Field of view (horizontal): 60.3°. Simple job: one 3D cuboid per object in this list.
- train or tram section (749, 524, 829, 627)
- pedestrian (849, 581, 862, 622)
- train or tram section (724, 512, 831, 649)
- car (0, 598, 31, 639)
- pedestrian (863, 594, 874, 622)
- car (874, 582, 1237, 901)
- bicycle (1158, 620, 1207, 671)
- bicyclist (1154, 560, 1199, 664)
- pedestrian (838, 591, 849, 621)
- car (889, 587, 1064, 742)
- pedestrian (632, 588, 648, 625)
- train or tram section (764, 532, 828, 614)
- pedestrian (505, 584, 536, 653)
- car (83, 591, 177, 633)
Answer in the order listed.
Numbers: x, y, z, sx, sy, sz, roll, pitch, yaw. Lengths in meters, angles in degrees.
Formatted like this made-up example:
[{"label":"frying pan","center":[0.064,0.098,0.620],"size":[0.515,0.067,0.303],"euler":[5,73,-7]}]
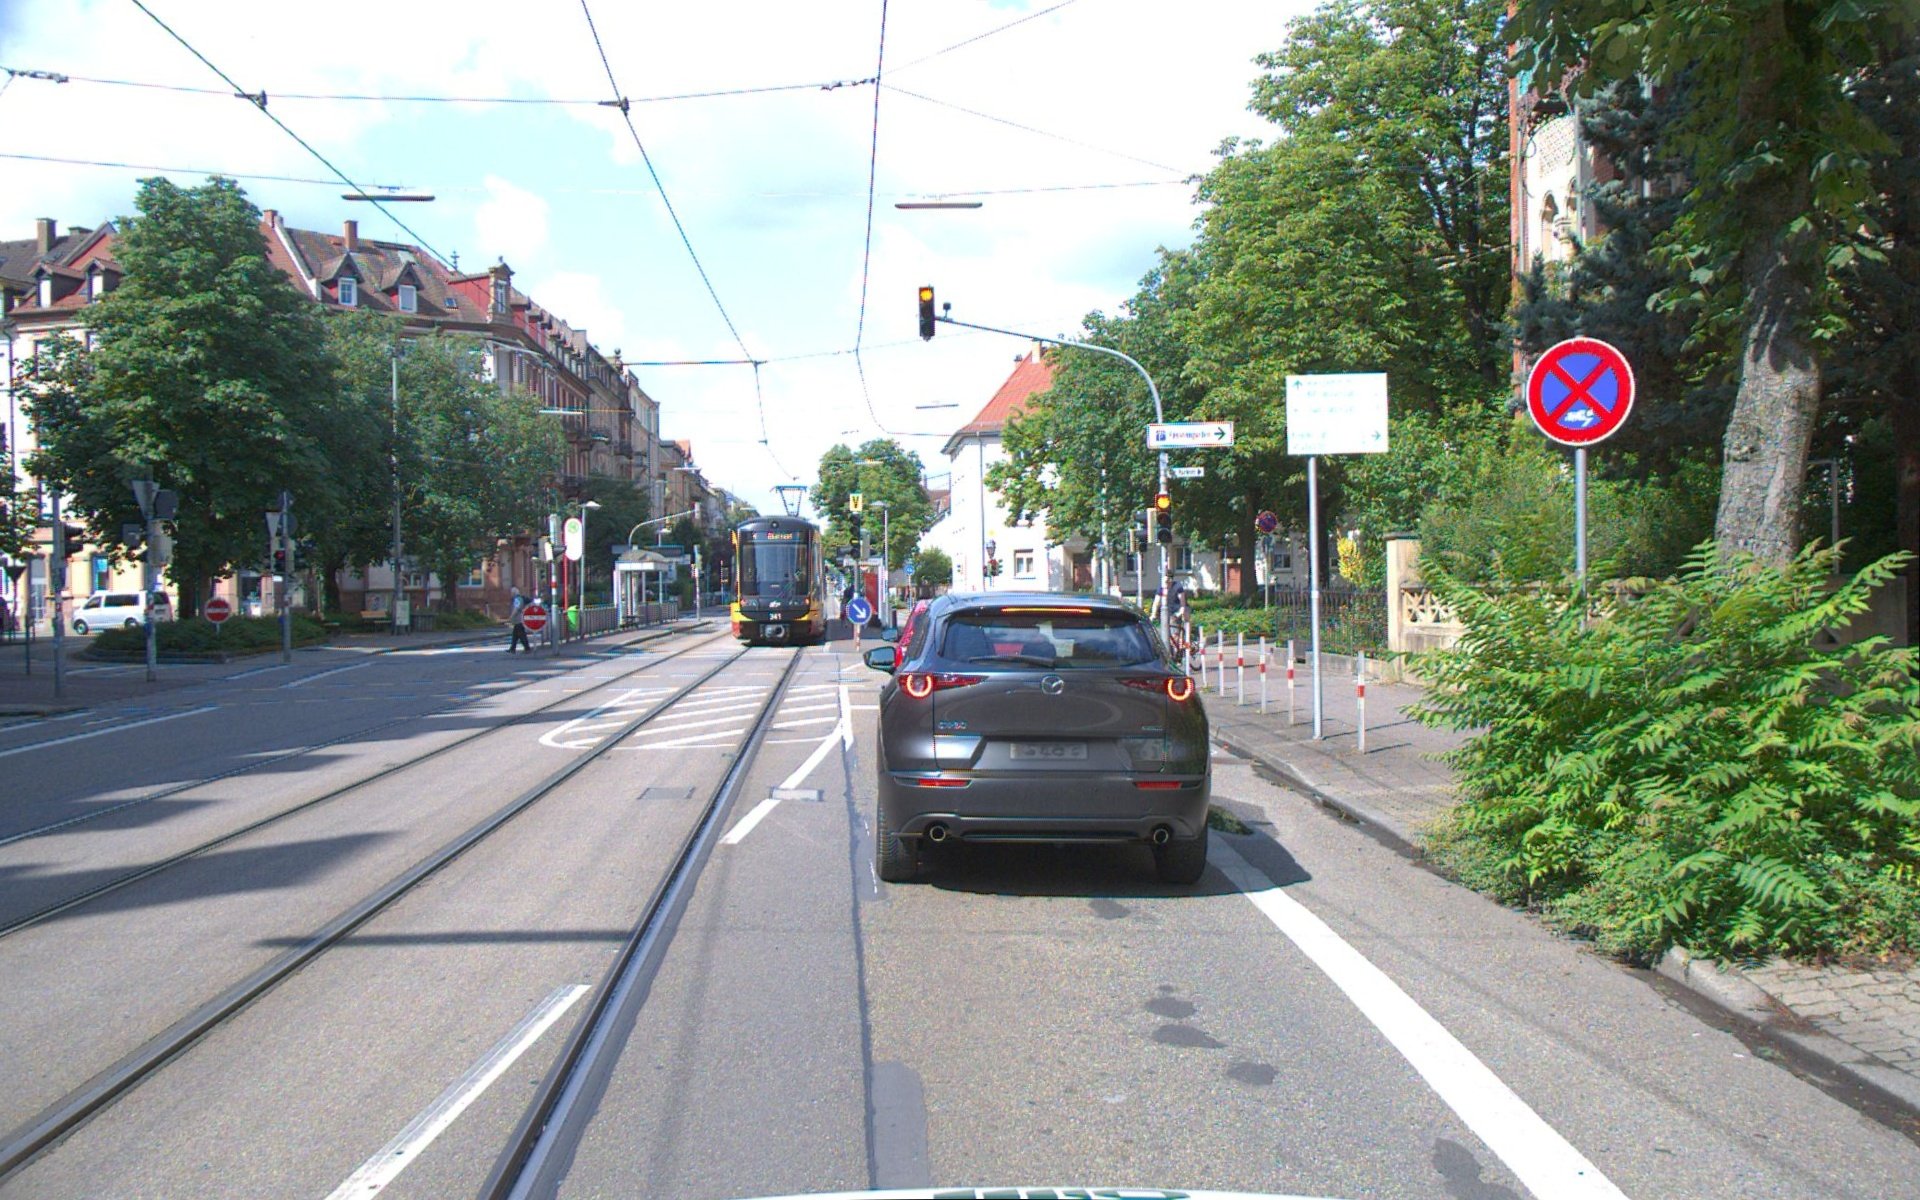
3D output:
[{"label":"train or tram section","center":[-6.560,-1.018,64.805],"size":[2.699,3.551,14.395],"euler":[-1,1,-5]},{"label":"pedestrian","center":[-3.816,0.057,60.632],"size":[0.441,1.459,0.474],"euler":[-1,0,-6]},{"label":"train or tram section","center":[-5.372,-0.681,50.474],"size":[2.699,3.551,14.395],"euler":[-1,1,-5]},{"label":"car","center":[-39.987,0.760,66.650],"size":[3.906,1.624,2.000],"euler":[-1,0,-1]},{"label":"pedestrian","center":[-3.378,0.292,60.925],"size":[0.372,1.001,0.474],"euler":[-1,0,-6]},{"label":"car","center":[0.426,0.675,10.032],"size":[1.742,1.526,3.999],"euler":[1,0,-1]},{"label":"bicycle","center":[3.961,0.795,29.410],"size":[0.482,0.838,1.699],"euler":[-1,0,21]},{"label":"bicyclist","center":[3.844,0.209,29.328],"size":[0.642,1.824,0.610],"euler":[-1,0,20]},{"label":"pedestrian","center":[-4.243,0.220,60.436],"size":[0.372,1.089,0.474],"euler":[-1,0,-5]},{"label":"car","center":[0.126,0.634,18.634],"size":[1.742,1.526,3.999],"euler":[1,0,-1]},{"label":"pedestrian","center":[-12.442,0.264,64.319],"size":[0.420,1.423,0.397],"euler":[-1,0,30]},{"label":"train or tram section","center":[-7.744,-1.341,79.132],"size":[2.699,3.551,14.395],"euler":[-1,1,-5]},{"label":"pedestrian","center":[-11.279,0.468,42.441],"size":[0.706,1.735,0.820],"euler":[-1,0,-18]},{"label":"car","center":[-39.568,0.585,78.856],"size":[3.906,1.937,1.999],"euler":[-1,0,24]}]
